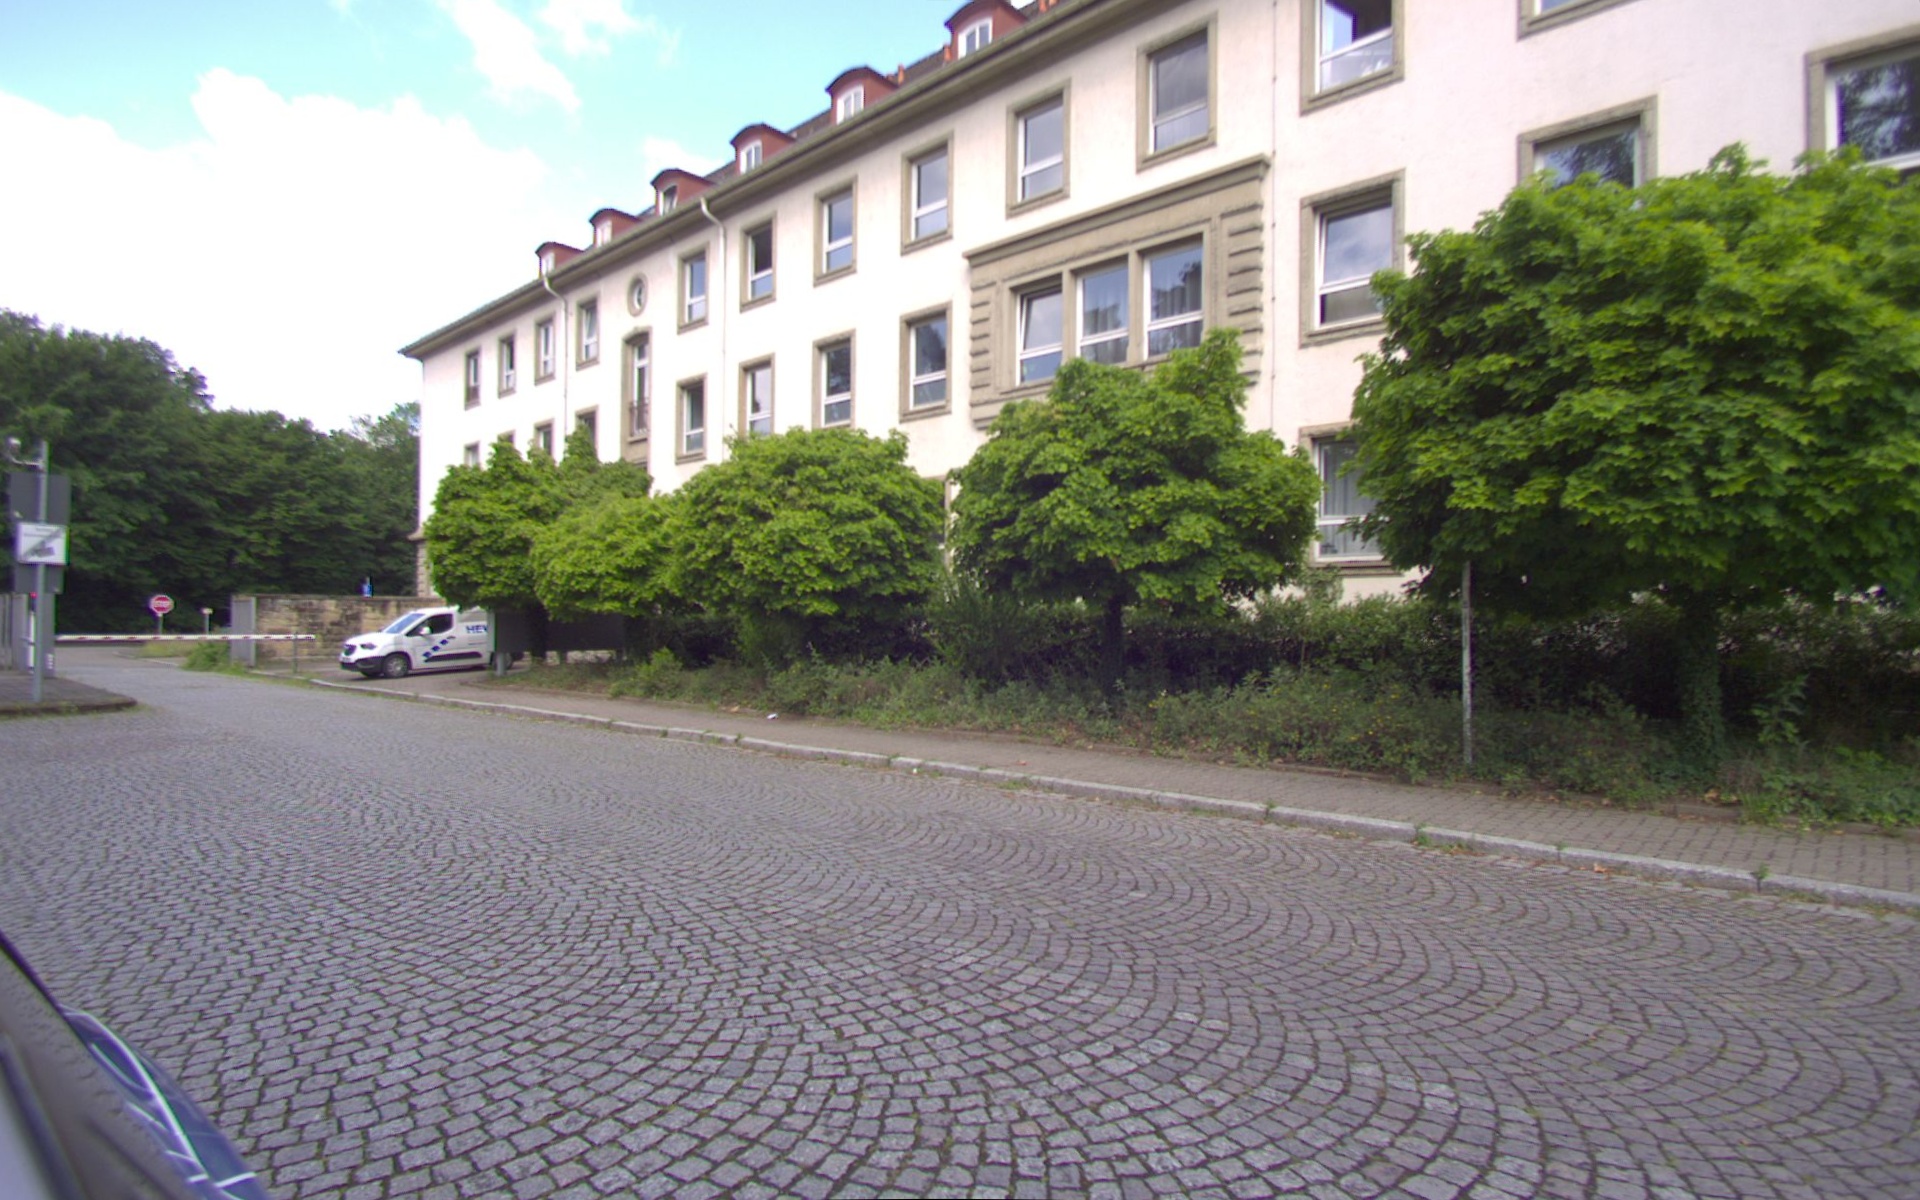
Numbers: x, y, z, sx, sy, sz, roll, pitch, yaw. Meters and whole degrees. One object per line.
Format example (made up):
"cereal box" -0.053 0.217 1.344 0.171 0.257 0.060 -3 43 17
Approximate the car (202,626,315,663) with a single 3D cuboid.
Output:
"car" -31.012 1.923 44.797 3.938 1.529 1.804 1 -2 -42

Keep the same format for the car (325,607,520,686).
"car" -14.344 1.159 27.200 1.819 1.819 4.258 0 1 40
